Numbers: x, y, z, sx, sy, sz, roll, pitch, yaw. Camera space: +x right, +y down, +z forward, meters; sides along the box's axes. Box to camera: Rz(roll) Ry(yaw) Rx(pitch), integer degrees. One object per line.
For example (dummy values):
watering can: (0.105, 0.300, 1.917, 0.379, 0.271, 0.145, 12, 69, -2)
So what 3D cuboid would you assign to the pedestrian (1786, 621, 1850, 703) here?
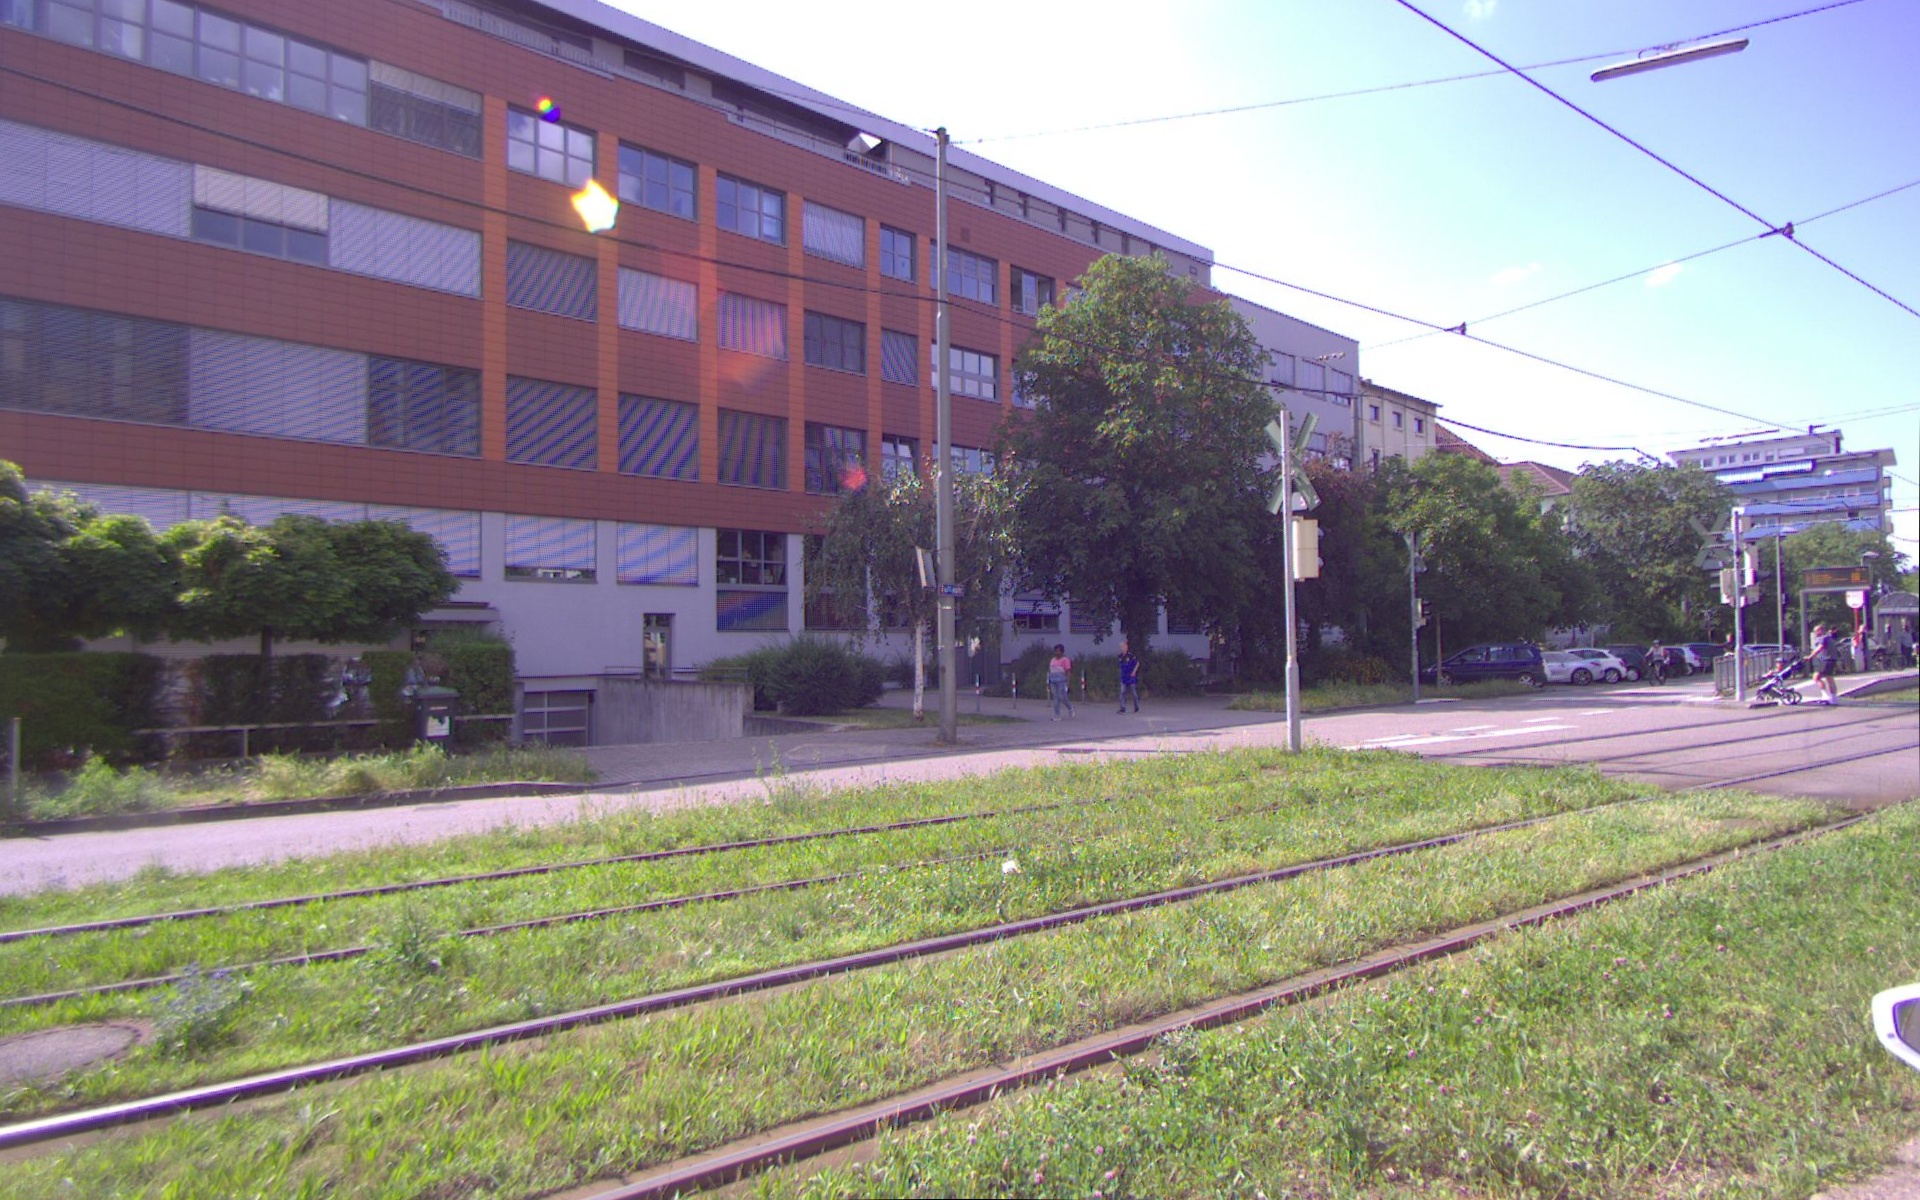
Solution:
pedestrian: (19.273, 1.390, 22.575, 0.995, 1.798, 0.864, 1, -4, -39)

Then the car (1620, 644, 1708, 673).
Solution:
car: (34.204, 2.838, 48.863, 3.181, 1.326, 1.457, -1, -3, 3)

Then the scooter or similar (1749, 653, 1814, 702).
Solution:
scooter or similar: (18.654, 1.764, 22.822, 0.790, 1.078, 0.947, 1, -5, -39)

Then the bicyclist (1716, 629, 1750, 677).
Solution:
bicyclist: (34.092, 2.335, 44.295, 0.938, 2.040, 1.567, -3, -4, 44)

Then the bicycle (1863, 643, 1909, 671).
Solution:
bicycle: (34.532, 2.128, 37.439, 1.749, 0.987, 0.683, 0, -5, -29)

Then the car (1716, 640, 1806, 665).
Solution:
car: (48.856, 3.228, 61.341, 3.919, 1.385, 1.718, -2, -3, 11)

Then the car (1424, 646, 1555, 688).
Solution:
car: (20.081, 2.534, 38.243, 4.049, 1.518, 1.727, -2, -3, 12)

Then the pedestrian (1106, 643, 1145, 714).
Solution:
pedestrian: (3.998, 1.887, 24.300, 0.738, 1.678, 0.554, 1, -3, -30)

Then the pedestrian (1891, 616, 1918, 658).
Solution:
pedestrian: (39.743, 1.555, 42.275, 0.650, 1.714, 0.650, 1, -4, -38)

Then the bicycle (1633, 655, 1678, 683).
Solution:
bicycle: (26.525, 2.628, 38.283, 2.157, 0.983, 0.676, 1, -4, -35)

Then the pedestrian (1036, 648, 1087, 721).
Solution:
pedestrian: (2.296, 1.899, 22.718, 0.879, 1.594, 0.742, 2, -4, -30)

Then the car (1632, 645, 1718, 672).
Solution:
car: (36.248, 2.967, 50.966, 3.181, 1.326, 1.457, -1, -3, 6)

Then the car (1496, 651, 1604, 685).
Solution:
car: (23.252, 2.686, 39.694, 3.320, 1.252, 1.546, -2, -3, 12)

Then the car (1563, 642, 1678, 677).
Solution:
car: (29.704, 2.680, 45.294, 3.919, 1.475, 1.692, -2, -3, 11)

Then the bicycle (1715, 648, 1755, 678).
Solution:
bicycle: (34.136, 2.787, 44.260, 1.142, 1.193, 1.776, -5, -3, 44)

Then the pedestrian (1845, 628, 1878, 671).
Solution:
pedestrian: (34.347, 1.892, 38.267, 0.678, 1.589, 0.660, 1, -4, -31)

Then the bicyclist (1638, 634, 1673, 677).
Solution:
bicyclist: (26.459, 2.123, 38.229, 0.855, 1.602, 0.780, 1, -4, -35)

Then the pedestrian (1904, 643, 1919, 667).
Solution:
pedestrian: (40.981, 2.353, 42.823, 0.790, 1.001, 0.918, 3, -6, -36)

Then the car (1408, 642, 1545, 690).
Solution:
car: (18.606, 2.390, 36.376, 4.049, 1.662, 1.727, -2, -3, 12)

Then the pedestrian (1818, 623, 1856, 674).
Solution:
pedestrian: (30.580, 1.701, 35.034, 0.654, 1.749, 0.715, -1, -3, 3)

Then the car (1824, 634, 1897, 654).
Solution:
car: (72.201, 3.529, 80.582, 3.920, 1.466, 1.729, -2, -3, 17)

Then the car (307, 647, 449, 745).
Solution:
car: (-11.096, 1.726, 19.018, 1.980, 1.616, 3.961, 1, -3, -35)

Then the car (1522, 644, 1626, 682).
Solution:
car: (25.528, 2.621, 41.871, 3.320, 1.524, 1.546, -2, -3, 14)

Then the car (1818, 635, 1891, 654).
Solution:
car: (68.430, 3.429, 76.892, 3.919, 1.404, 1.641, -1, -3, 6)
